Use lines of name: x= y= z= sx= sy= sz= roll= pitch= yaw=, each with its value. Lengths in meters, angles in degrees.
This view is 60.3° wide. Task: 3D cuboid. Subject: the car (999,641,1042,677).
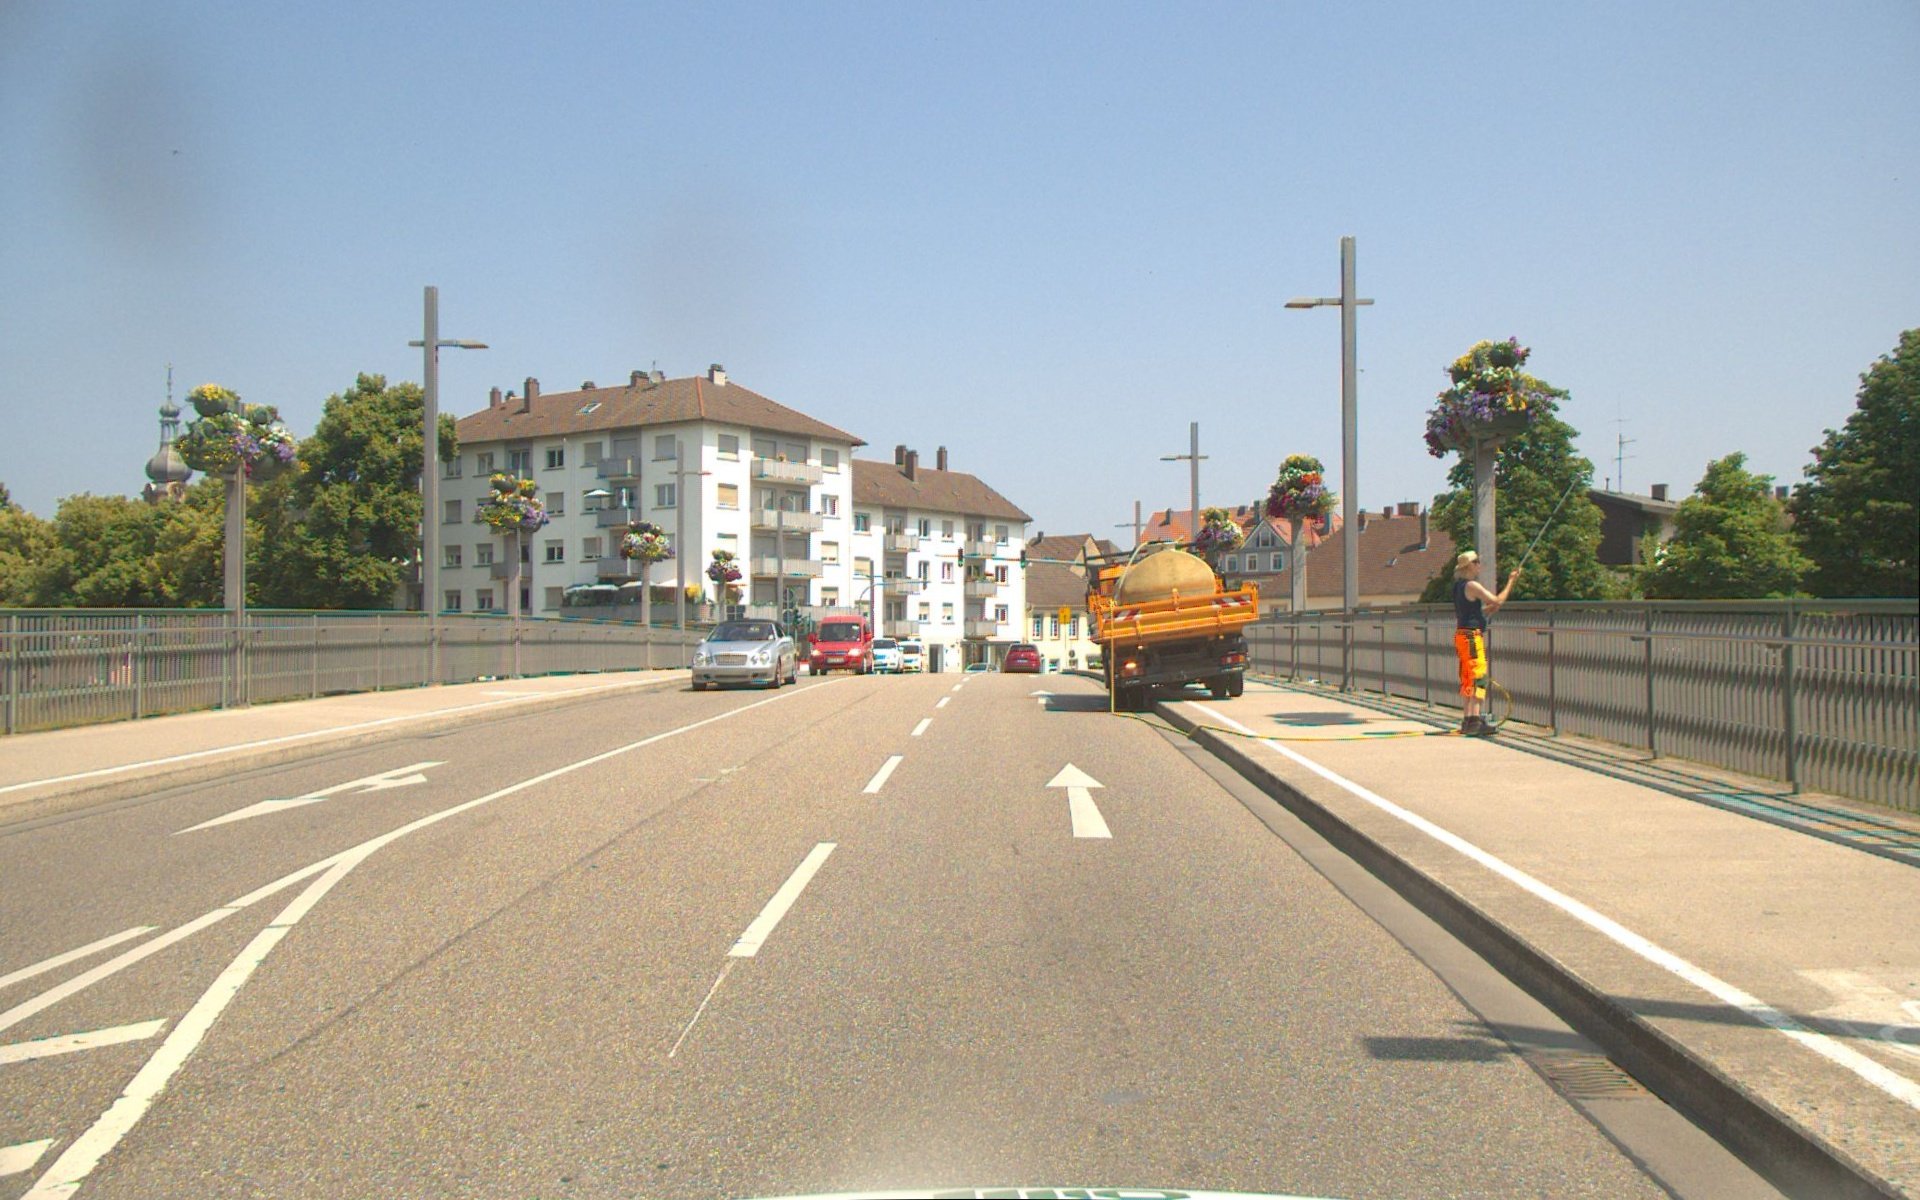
car: x=3.024 y=2.947 z=83.493 sx=1.949 sy=1.641 sz=4.342 roll=-1 pitch=-1 yaw=0

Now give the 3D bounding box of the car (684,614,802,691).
car: x=-4.331 y=1.014 z=33.602 sx=1.663 sy=1.382 sz=4.457 roll=-1 pitch=0 yaw=2

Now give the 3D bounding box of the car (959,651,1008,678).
car: x=1.494 y=4.025 z=103.729 sx=1.724 sy=1.545 sz=4.000 roll=-3 pitch=-2 yaw=20

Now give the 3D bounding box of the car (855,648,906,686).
car: x=-3.118 y=2.643 z=65.998 sx=1.806 sy=1.457 sz=4.713 roll=0 pitch=-1 yaw=0

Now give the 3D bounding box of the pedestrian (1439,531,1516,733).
pedestrian: x=5.201 y=0.328 z=16.645 sx=0.656 sy=1.994 sz=0.549 roll=-1 pitch=-2 yaw=13

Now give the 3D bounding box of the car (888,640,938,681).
car: x=-2.362 y=3.061 z=84.525 sx=1.721 sy=1.890 sz=4.650 roll=1 pitch=0 yaw=8

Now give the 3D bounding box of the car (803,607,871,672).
car: x=-3.570 y=1.156 z=48.658 sx=1.700 sy=1.808 sz=4.175 roll=-1 pitch=-1 yaw=0

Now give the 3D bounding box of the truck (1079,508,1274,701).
truck: x=3.314 y=0.087 z=26.677 sx=2.551 sy=2.738 sz=5.824 roll=-1 pitch=-1 yaw=2
